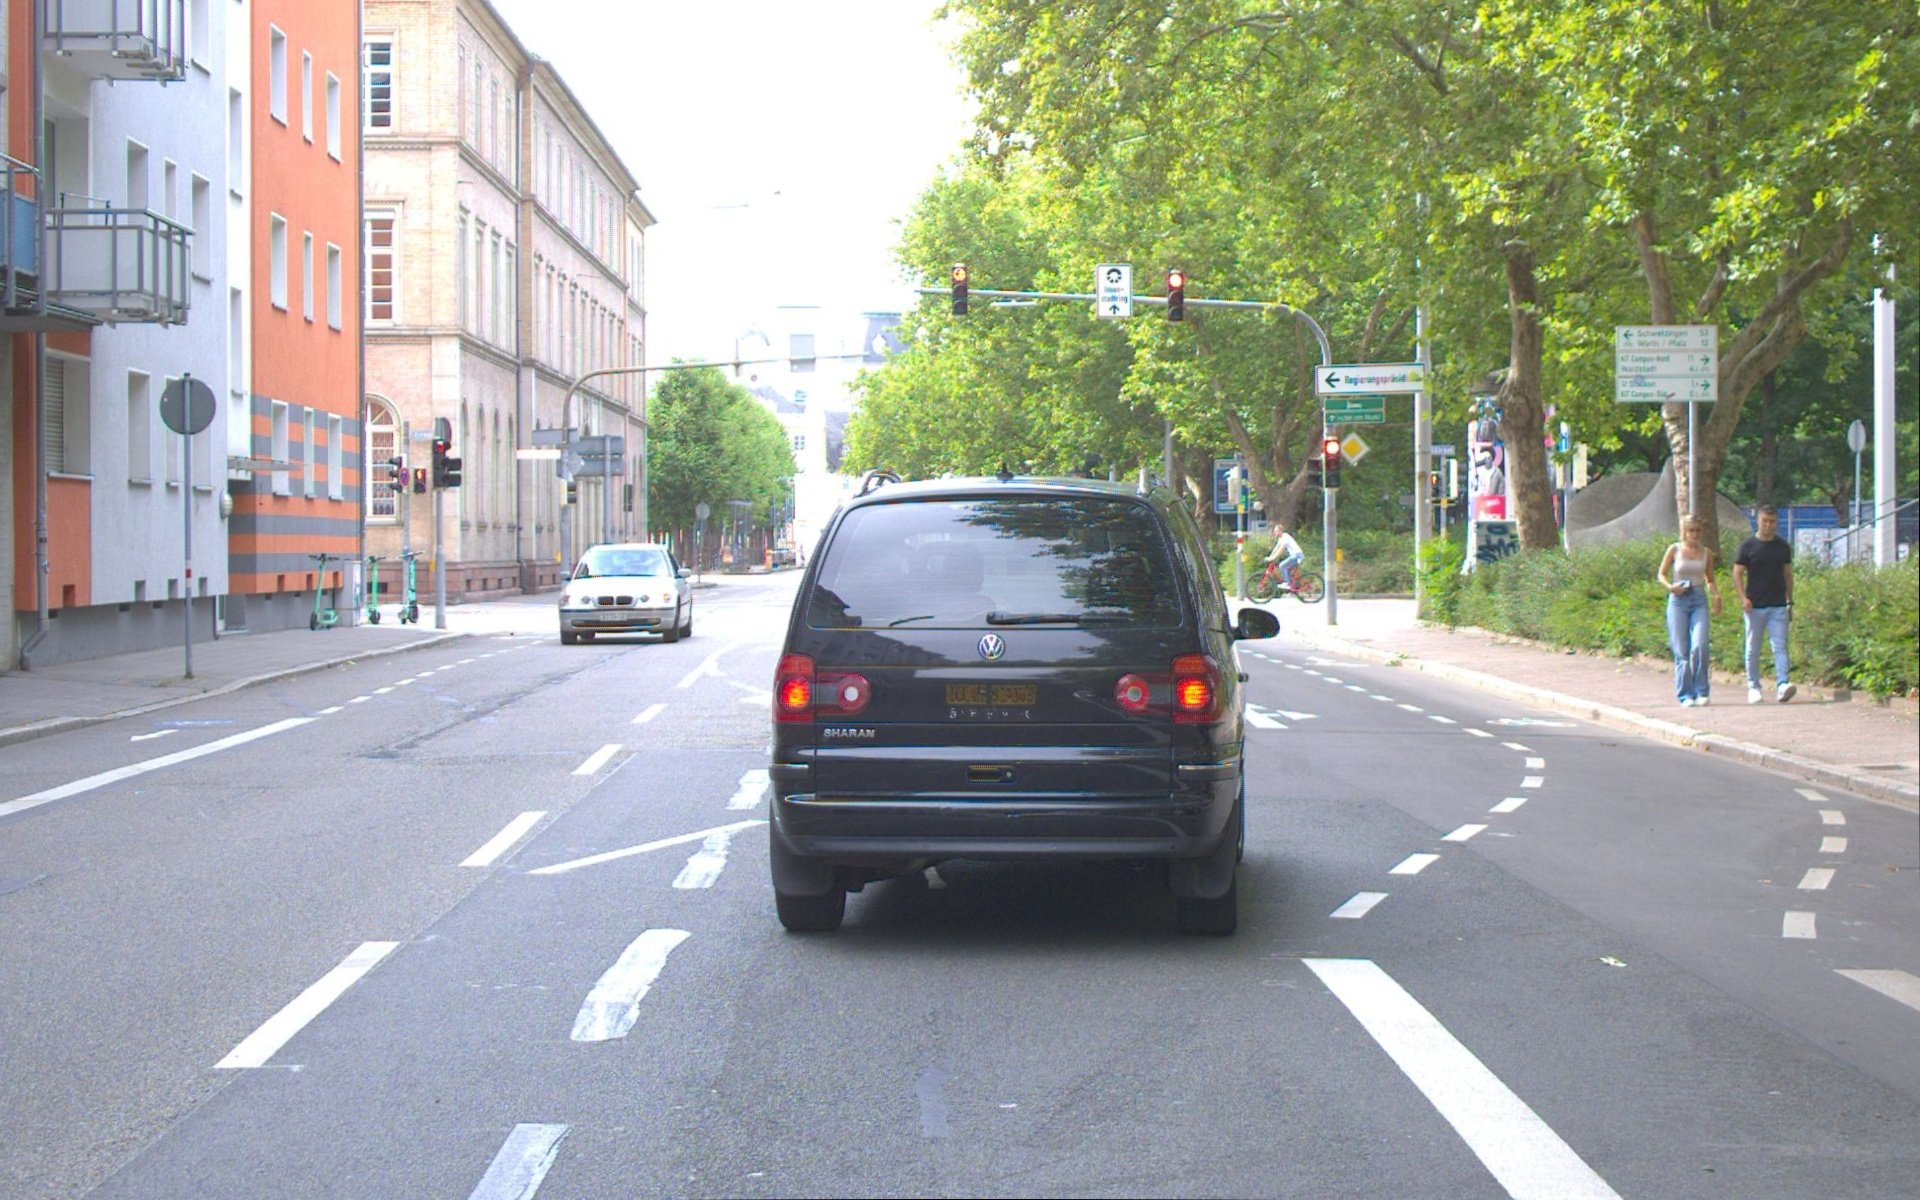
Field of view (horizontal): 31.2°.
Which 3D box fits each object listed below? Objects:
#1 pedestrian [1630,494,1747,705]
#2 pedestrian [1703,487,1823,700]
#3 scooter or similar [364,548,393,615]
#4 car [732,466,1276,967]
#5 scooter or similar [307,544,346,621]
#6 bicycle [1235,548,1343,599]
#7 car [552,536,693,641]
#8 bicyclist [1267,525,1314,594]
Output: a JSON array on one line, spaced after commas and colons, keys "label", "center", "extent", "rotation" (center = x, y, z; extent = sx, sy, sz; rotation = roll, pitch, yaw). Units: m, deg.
[{"label": "pedestrian", "center": [6.318, -0.009, 29.854], "extent": [0.710, 1.777, 1.034], "rotation": [-2, 1, -2]}, {"label": "pedestrian", "center": [6.947, -0.060, 29.777], "extent": [0.715, 1.794, 1.034], "rotation": [-2, 1, -2]}, {"label": "scooter or similar", "center": [-10.028, -0.311, 59.295], "extent": [0.378, 1.143, 1.142], "rotation": [0, 0, -4]}, {"label": "car", "center": [0.354, 0.351, 14.325], "extent": [1.874, 1.739, 4.573], "rotation": [0, 1, 6]}, {"label": "scooter or similar", "center": [-9.778, -0.261, 53.079], "extent": [0.378, 1.179, 1.390], "rotation": [0, 0, -1]}, {"label": "bicycle", "center": [7.106, -0.568, 74.265], "extent": [2.233, 1.090, 0.627], "rotation": [0, 1, -5]}, {"label": "car", "center": [-4.922, -0.205, 50.566], "extent": [1.757, 1.422, 4.099], "rotation": [-2, 1, -2]}, {"label": "bicyclist", "center": [7.140, -0.875, 74.266], "extent": [0.914, 1.488, 0.626], "rotation": [0, 1, -5]}]
